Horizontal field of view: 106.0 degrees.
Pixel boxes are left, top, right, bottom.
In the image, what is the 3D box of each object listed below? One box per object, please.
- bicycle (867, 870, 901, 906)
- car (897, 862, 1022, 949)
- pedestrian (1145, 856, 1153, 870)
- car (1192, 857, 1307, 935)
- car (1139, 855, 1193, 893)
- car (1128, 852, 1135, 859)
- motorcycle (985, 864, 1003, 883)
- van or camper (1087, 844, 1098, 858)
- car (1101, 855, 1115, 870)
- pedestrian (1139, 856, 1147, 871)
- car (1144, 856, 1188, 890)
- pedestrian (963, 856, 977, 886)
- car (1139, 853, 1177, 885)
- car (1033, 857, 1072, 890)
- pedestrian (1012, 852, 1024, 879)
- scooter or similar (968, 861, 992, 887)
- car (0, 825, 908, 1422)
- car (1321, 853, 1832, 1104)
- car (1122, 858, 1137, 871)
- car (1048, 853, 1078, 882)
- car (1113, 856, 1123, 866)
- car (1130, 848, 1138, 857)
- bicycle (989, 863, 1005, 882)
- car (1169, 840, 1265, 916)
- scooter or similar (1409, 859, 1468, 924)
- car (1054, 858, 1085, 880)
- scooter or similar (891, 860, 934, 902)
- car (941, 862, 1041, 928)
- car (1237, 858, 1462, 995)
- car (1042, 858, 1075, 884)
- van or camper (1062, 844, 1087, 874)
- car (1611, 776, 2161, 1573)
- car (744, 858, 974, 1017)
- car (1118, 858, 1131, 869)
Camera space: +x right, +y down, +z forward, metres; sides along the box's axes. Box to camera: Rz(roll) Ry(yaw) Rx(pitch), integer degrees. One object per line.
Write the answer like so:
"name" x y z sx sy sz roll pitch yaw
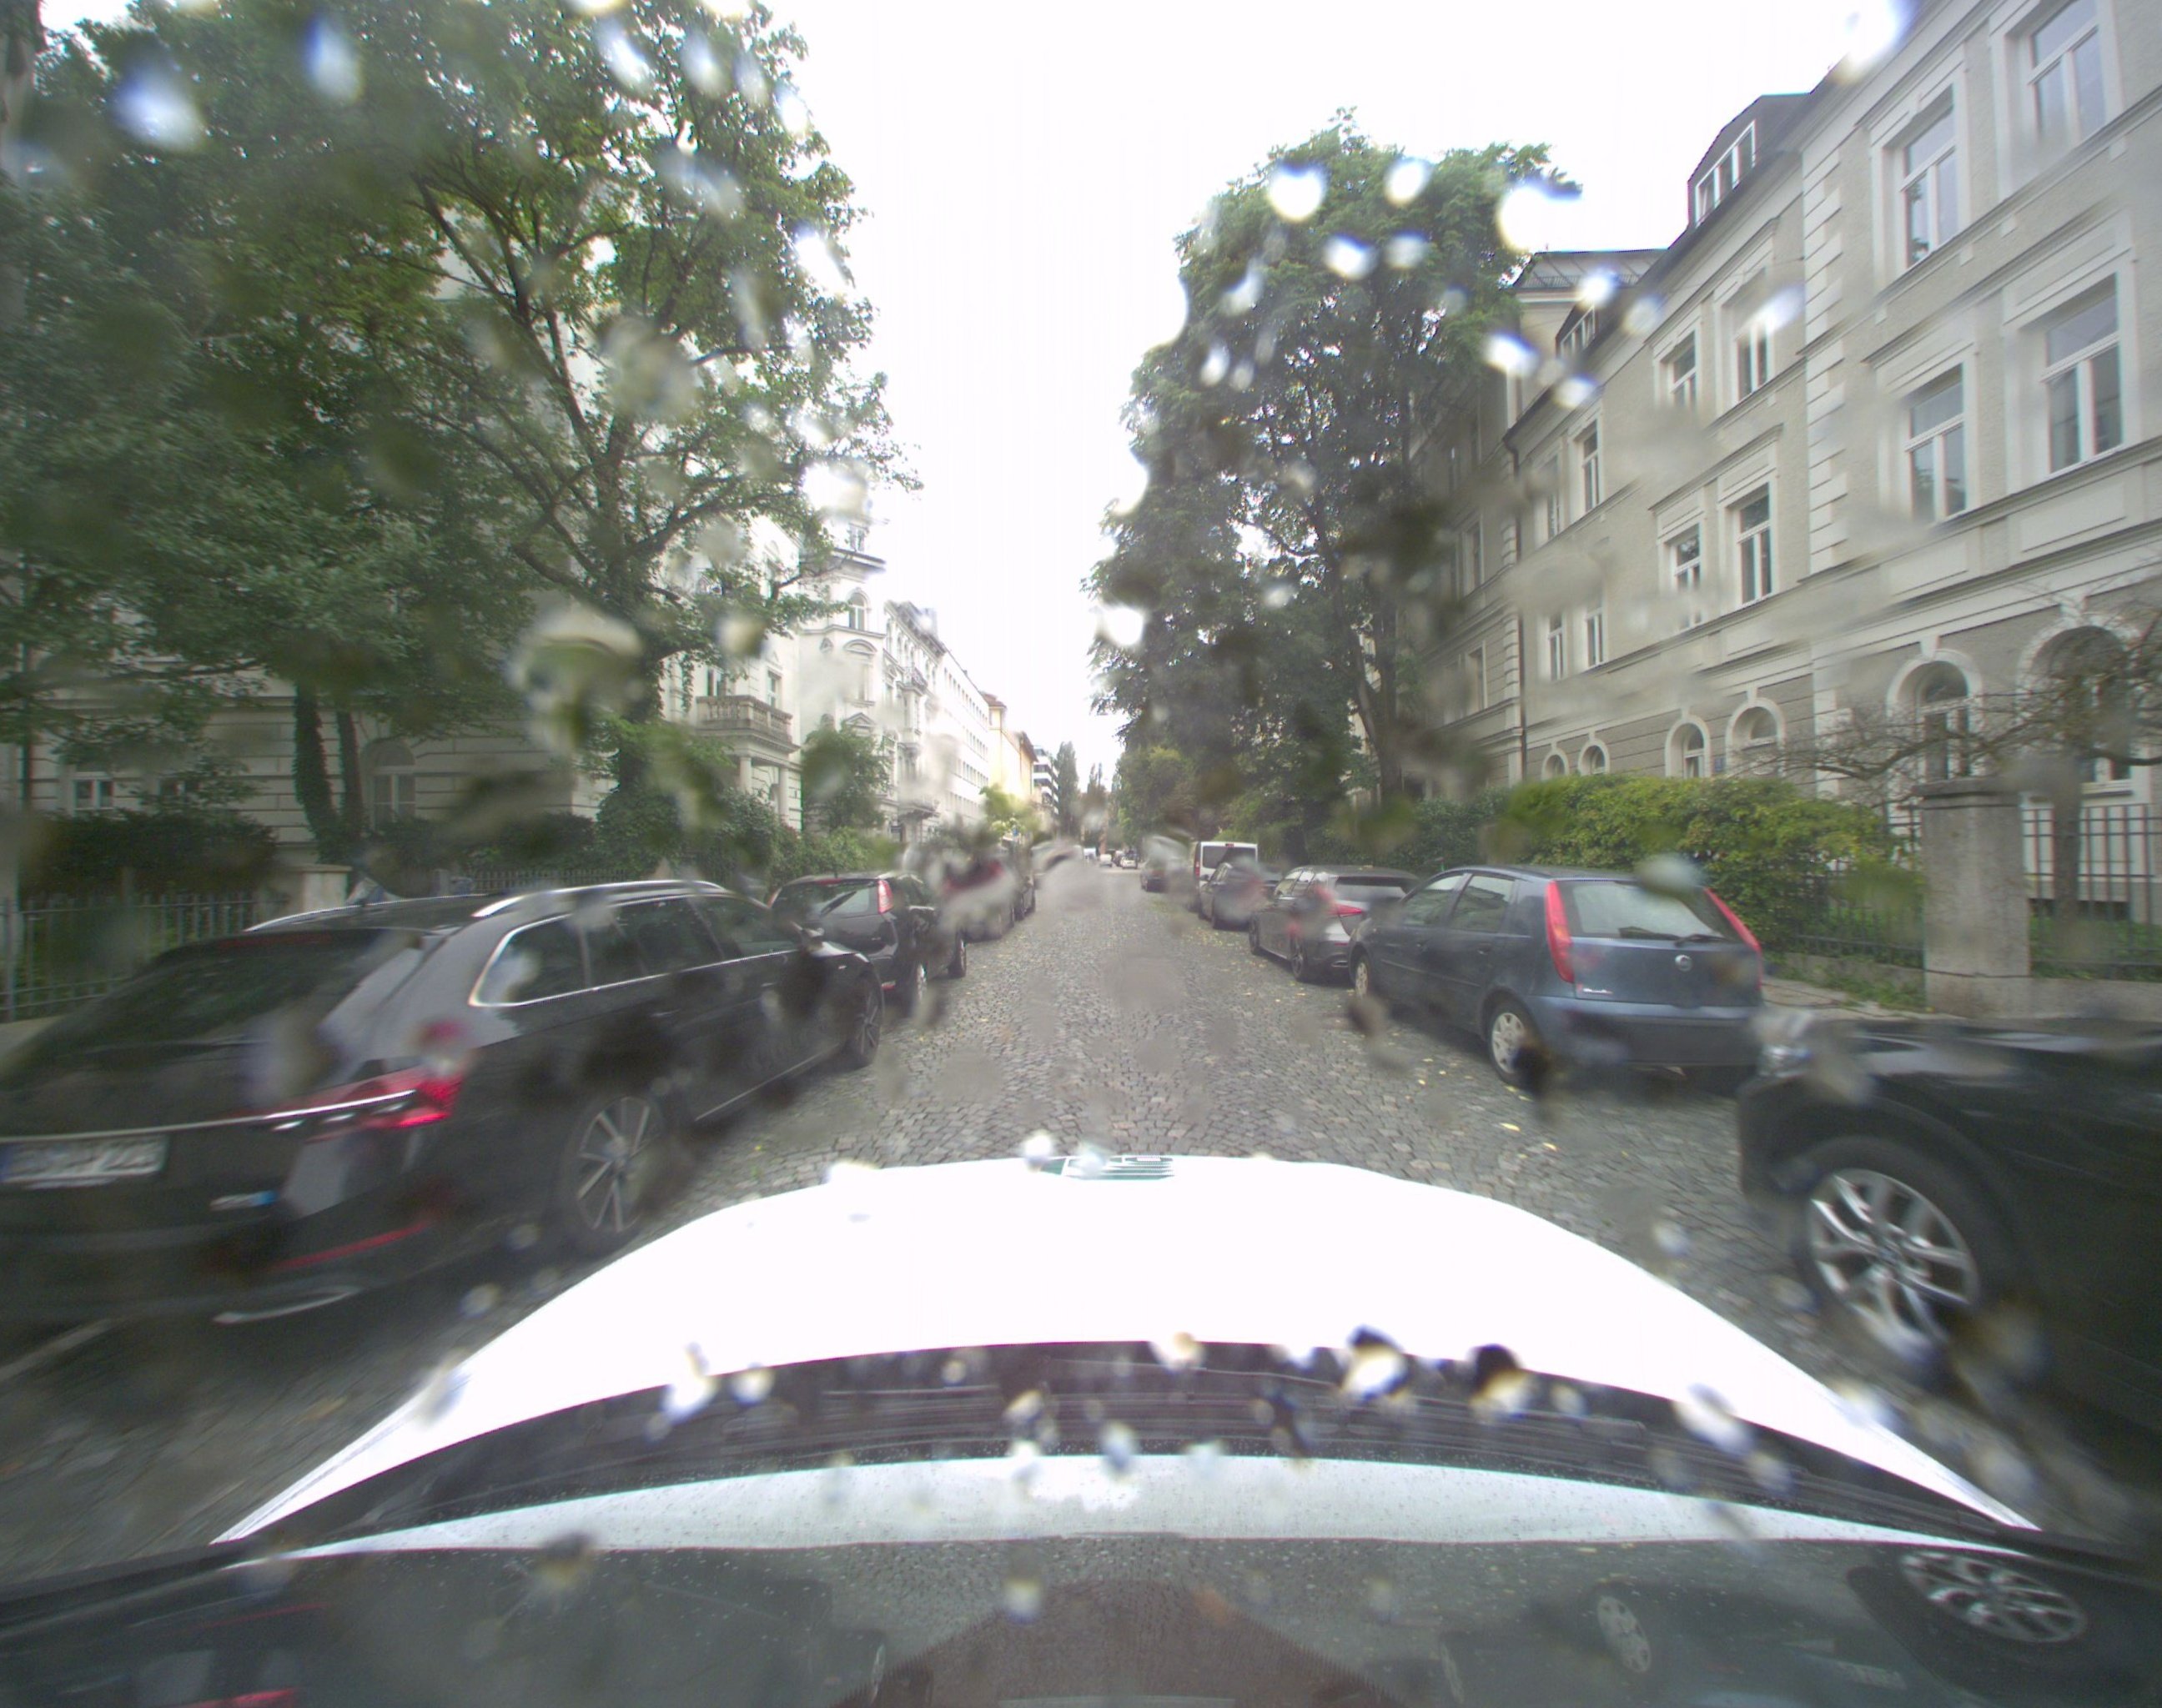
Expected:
"bicycle" -6.500 1.110 26.949 0.575 1.122 2.051 -1 0 0
"car" -2.357 0.952 16.958 1.777 1.417 4.497 -4 0 0
"pedestrian" 9.547 1.307 114.900 0.858 2.014 0.986 0 -1 -16
"car" 3.631 0.841 18.314 1.829 1.490 4.424 2 0 3
"car" 3.667 0.851 35.971 1.867 1.503 4.510 2 0 0
"car" 13.915 0.448 224.944 1.986 2.014 4.002 -1 -1 2
"motorcycle" -5.540 1.220 51.984 0.619 1.196 1.870 -1 0 11
"van or camper" 2.287 -0.544 161.212 2.247 2.742 5.100 0 0 2
"car" 3.857 1.226 116.036 1.986 2.014 4.002 -1 0 2
"pedestrian" 8.682 1.309 114.486 0.858 2.014 0.986 0 -1 -16
"car" 4.241 0.939 41.257 1.811 1.580 4.209 2 0 1
"pedestrian" -6.397 0.980 46.962 0.715 1.687 0.695 -1 -1 1
"car" 4.479 0.863 47.842 1.866 1.733 4.594 2 0 2
"car" -1.476 0.990 43.996 1.867 1.580 4.254 -4 0 0
"pedestrian" -4.406 0.793 57.086 0.789 1.917 0.759 0 -1 1
"scooter or similar" -5.721 1.105 46.426 0.938 1.441 2.657 -1 0 2
"car" -2.669 0.757 4.713 1.970 1.561 5.020 -3 0 3
"car" 3.543 0.750 6.841 1.690 1.440 4.057 2 0 -3
"car" 5.789 1.255 97.571 1.783 1.520 4.002 -1 0 2
"car" -1.207 0.932 56.426 1.867 1.776 4.123 -4 0 1
"car" 7.406 1.366 161.521 1.986 2.014 4.002 0 0 2
"car" 13.085 -0.353 200.397 1.986 2.014 4.002 -1 -1 2
"bicycle" -5.589 1.225 54.153 0.657 1.221 2.077 -1 0 -17
"car" 3.837 0.632 23.847 1.867 1.928 5.162 2 0 0
"scooter or similar" 7.221 0.734 16.491 0.414 1.234 1.242 -4 0 -10
"car" -0.836 1.129 61.674 1.864 1.580 4.213 1 0 5
"scooter or similar" -6.095 0.956 29.633 0.938 1.442 2.656 1 0 0
"car" -2.267 0.999 21.728 1.879 1.417 4.409 -4 0 2
"car" 3.414 0.818 11.231 1.707 1.472 4.269 2 0 1
"car" -1.337 1.007 50.019 1.867 1.451 4.207 -3 0 0
"van or camper" -0.601 0.451 76.640 1.986 2.652 4.002 -4 -1 2
"car" 3.199 0.694 1.234 1.866 1.670 4.659 2 0 2
"car" -2.370 0.804 9.791 1.657 1.444 4.169 -2 0 -1
"car" 6.354 1.353 118.236 1.783 1.520 4.002 -1 0 2
